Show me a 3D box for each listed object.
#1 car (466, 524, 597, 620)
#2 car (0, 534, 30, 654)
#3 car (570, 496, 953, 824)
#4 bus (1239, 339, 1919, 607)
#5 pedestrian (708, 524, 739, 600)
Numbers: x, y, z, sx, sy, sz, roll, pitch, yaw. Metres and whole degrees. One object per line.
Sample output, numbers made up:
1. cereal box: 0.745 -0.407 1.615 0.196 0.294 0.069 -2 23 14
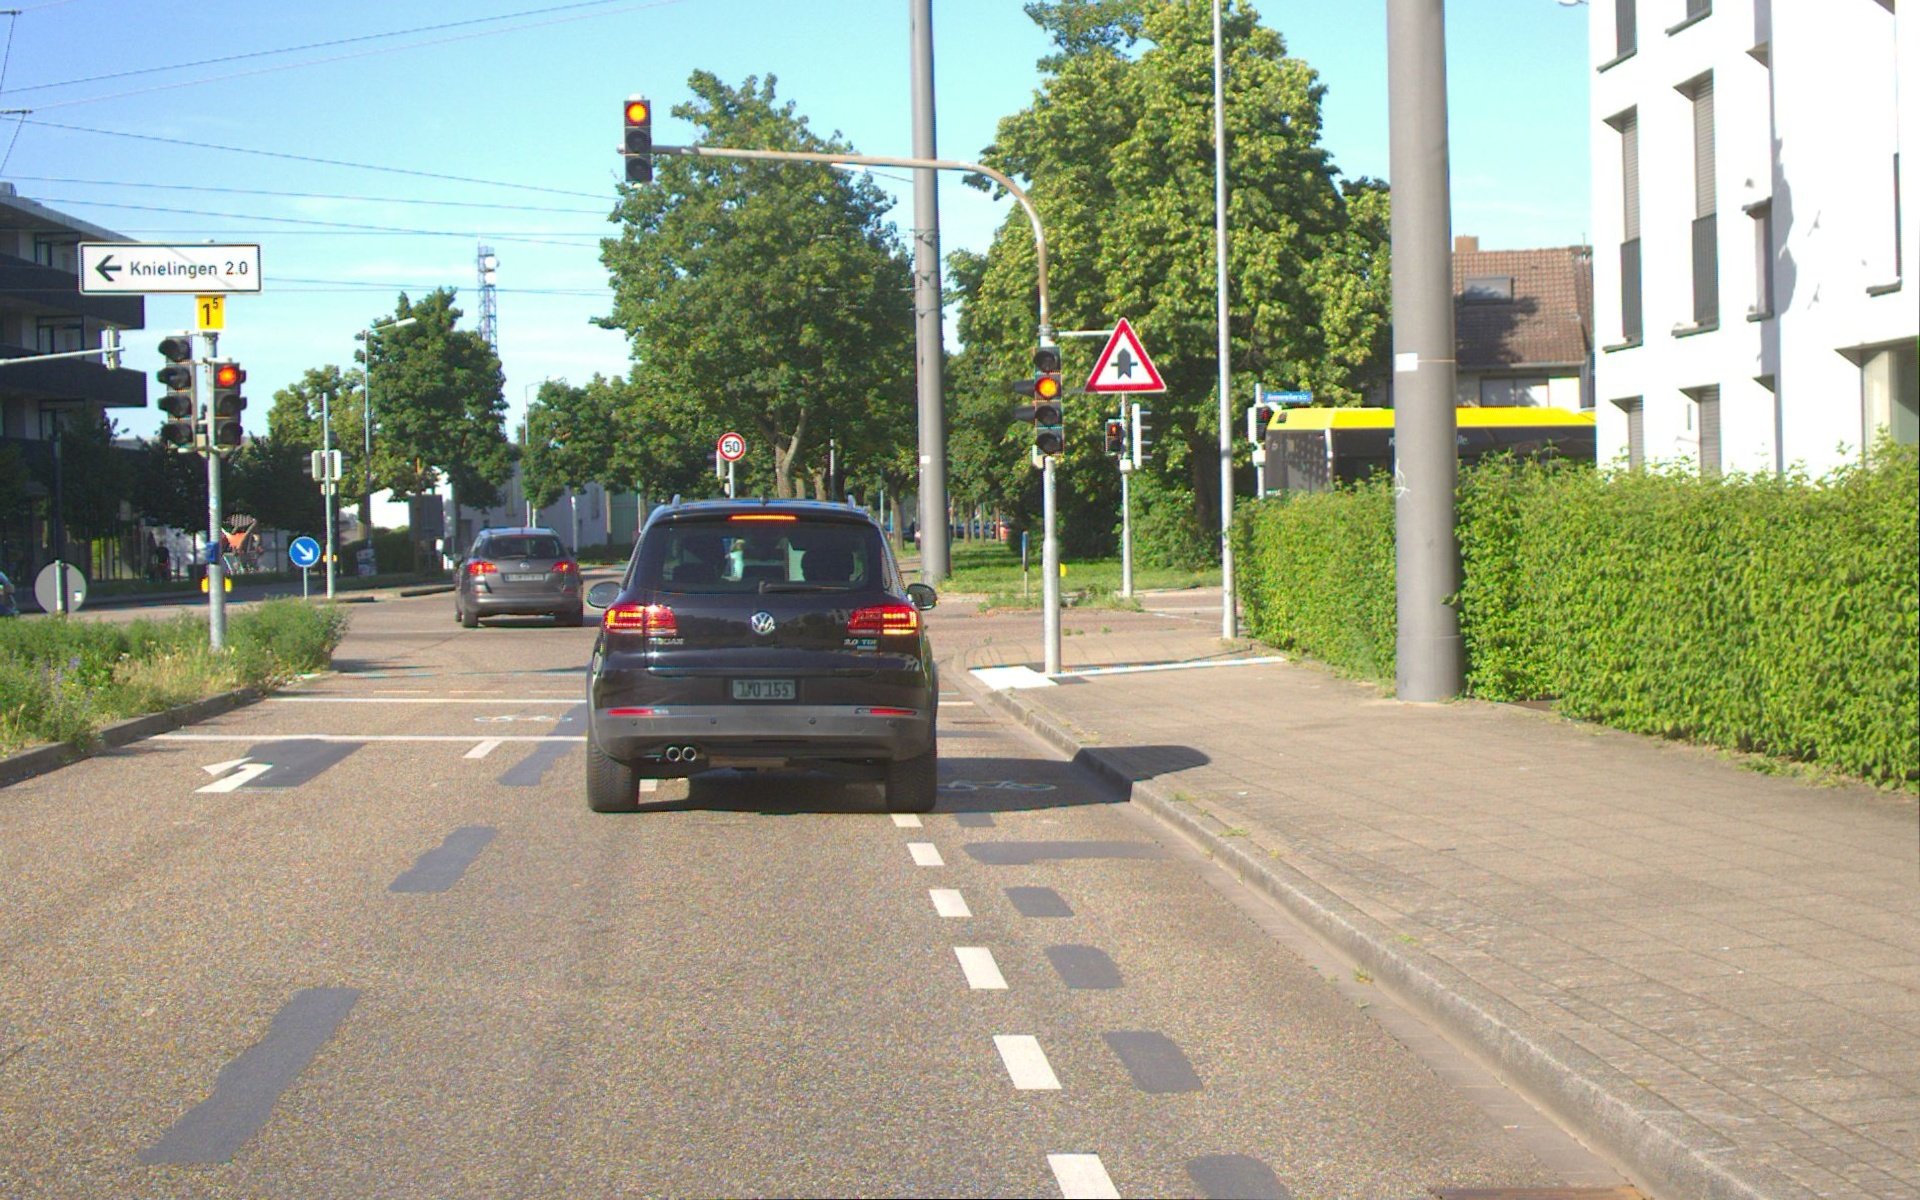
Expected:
1. car: -6.441 -0.453 51.974 1.750 1.382 4.001 0 1 -4
2. car: -13.347 0.011 41.807 3.727 1.426 1.709 -3 2 -10
3. car: -1.128 0.255 19.175 1.905 1.637 4.001 0 1 -4
4. bus: 11.430 -1.783 50.638 14.630 3.658 2.849 0 1 -19
5. pedestrian: -5.105 -0.823 74.233 0.603 1.634 0.529 0 1 2
